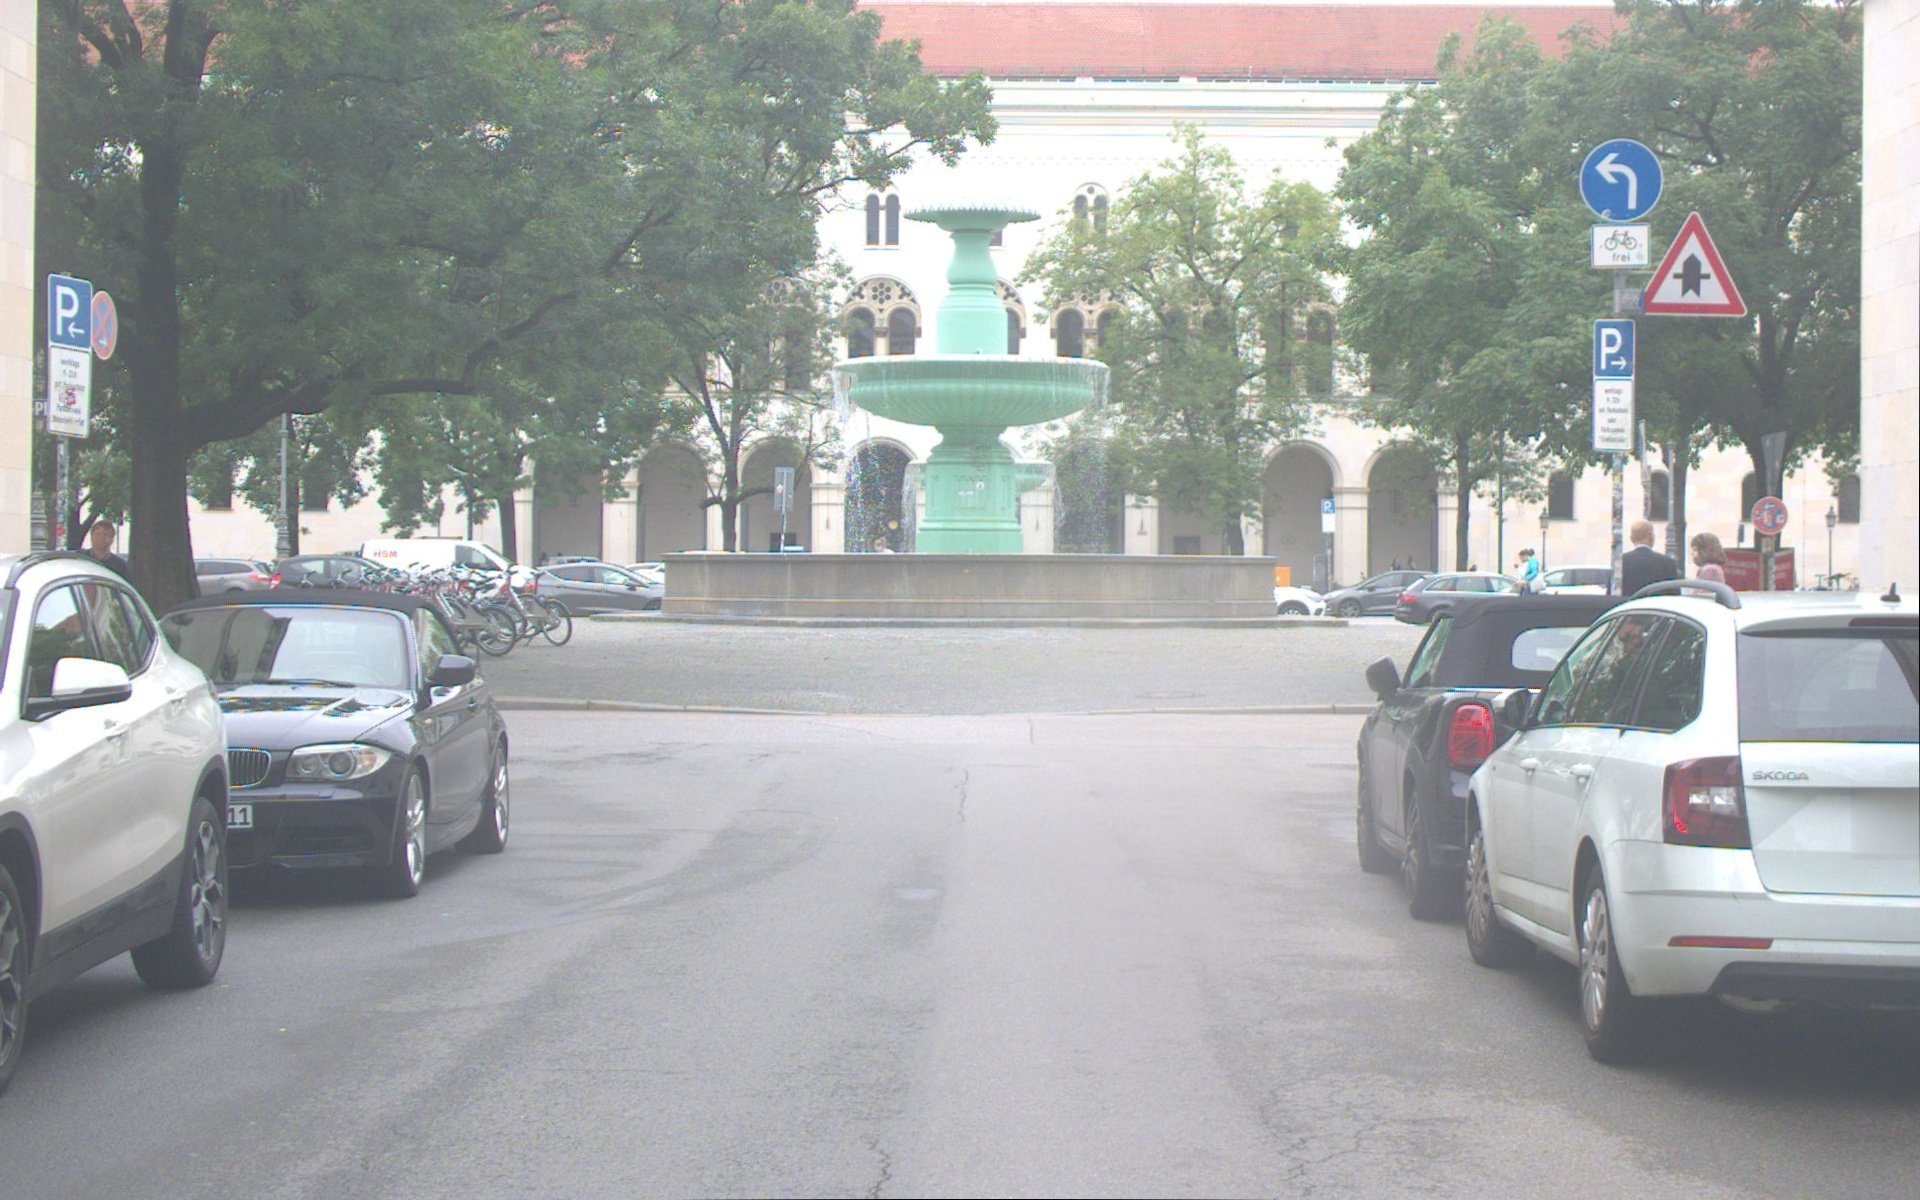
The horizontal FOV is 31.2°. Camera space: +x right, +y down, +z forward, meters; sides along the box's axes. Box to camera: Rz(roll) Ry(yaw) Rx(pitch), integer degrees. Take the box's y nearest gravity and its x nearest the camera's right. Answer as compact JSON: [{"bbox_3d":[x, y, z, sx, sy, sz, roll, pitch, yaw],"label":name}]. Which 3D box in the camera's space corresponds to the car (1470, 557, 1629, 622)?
[{"bbox_3d":[16.610,-0.309,97.018,4.097,1.735,1.747,1,1,-3],"label":"car"}]

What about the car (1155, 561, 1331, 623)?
[{"bbox_3d":[6.500,-0.198,79.277,3.987,1.398,1.824,0,1,3],"label":"car"}]

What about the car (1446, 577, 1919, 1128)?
[{"bbox_3d":[2.812,0.694,11.601,1.789,1.471,4.313,1,1,1],"label":"car"}]

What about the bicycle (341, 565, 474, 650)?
[{"bbox_3d":[-7.493,0.098,46.625,1.619,1.095,0.698,1,1,12],"label":"bicycle"}]

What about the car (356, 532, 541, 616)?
[{"bbox_3d":[-12.911,-0.661,86.883,4.326,2.007,1.824,1,1,2],"label":"car"}]

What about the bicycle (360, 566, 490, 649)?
[{"bbox_3d":[-7.368,0.099,47.360,1.619,1.095,0.698,1,1,12],"label":"bicycle"}]

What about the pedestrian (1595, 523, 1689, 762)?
[{"bbox_3d":[5.197,0.315,26.231,0.642,1.802,0.489,1,1,6],"label":"pedestrian"}]

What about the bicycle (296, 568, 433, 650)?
[{"bbox_3d":[-7.810,0.112,45.120,1.619,1.032,0.698,1,1,12],"label":"bicycle"}]

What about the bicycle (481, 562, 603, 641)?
[{"bbox_3d":[-6.050,0.015,49.747,1.619,1.095,0.616,1,1,12],"label":"bicycle"}]

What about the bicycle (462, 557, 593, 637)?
[{"bbox_3d":[-6.166,-0.048,49.050,1.711,1.095,0.698,1,1,12],"label":"bicycle"}]

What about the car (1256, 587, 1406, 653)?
[{"bbox_3d":[10.481,0.562,97.302,3.987,1.744,1.808,1,1,0],"label":"car"}]

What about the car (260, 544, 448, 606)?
[{"bbox_3d":[-13.955,-0.590,79.296,3.987,1.371,2.000,0,1,-1],"label":"car"}]

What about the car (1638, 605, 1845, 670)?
[{"bbox_3d":[17.919,0.850,78.943,4.357,1.413,1.803,0,1,2],"label":"car"}]

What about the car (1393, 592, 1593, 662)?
[{"bbox_3d":[12.220,0.612,78.995,4.357,1.519,1.803,0,1,2],"label":"car"}]

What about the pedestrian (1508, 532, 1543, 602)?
[{"bbox_3d":[11.894,-0.690,72.294,0.583,1.460,0.547,1,1,24],"label":"pedestrian"}]

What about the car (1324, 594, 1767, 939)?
[{"bbox_3d":[2.676,0.700,16.436,1.540,1.421,3.772,1,0,1],"label":"car"}]

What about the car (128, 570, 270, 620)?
[{"bbox_3d":[-21.624,-0.139,97.750,3.671,1.371,1.603,0,1,-1],"label":"car"}]

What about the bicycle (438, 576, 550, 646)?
[{"bbox_3d":[-7.116,0.159,52.560,1.536,1.016,0.698,1,1,12],"label":"bicycle"}]

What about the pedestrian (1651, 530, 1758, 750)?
[{"bbox_3d":[5.791,0.306,26.760,0.620,1.676,0.546,2,1,-5],"label":"pedestrian"}]

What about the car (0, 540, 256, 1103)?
[{"bbox_3d":[-3.520,0.611,10.751,1.778,1.529,4.212,-1,0,0],"label":"car"}]

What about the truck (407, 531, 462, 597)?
[{"bbox_3d":[-20.551,-1.409,134.337,1.993,2.480,4.001,1,1,-10],"label":"truck"}]

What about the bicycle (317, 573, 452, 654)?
[{"bbox_3d":[-7.678,0.176,45.862,1.619,1.032,0.698,1,1,12],"label":"bicycle"}]

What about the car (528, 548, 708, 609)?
[{"bbox_3d":[-7.873,-0.504,79.393,3.987,1.371,2.000,0,1,-1],"label":"car"}]

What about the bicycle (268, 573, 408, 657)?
[{"bbox_3d":[-8.005,0.189,44.273,1.619,1.032,0.698,1,1,12],"label":"bicycle"}]

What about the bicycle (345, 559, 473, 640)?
[{"bbox_3d":[-7.768,-0.017,48.472,1.619,1.095,0.698,1,1,12],"label":"bicycle"}]

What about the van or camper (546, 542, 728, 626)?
[{"bbox_3d":[-8.453,-0.422,90.288,4.579,2.007,2.000,-2,0,-2],"label":"van or camper"}]

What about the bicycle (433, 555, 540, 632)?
[{"bbox_3d":[-7.012,-0.105,50.930,1.401,1.095,0.656,1,1,12],"label":"bicycle"}]

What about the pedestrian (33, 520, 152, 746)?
[{"bbox_3d":[-6.784,0.252,26.915,0.754,1.743,0.690,0,1,-1],"label":"pedestrian"}]

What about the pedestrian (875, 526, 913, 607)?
[{"bbox_3d":[-1.336,-0.683,69.908,0.750,1.634,0.710,0,1,0],"label":"pedestrian"}]

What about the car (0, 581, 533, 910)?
[{"bbox_3d":[-3.247,0.620,16.900,1.698,1.388,4.211,-1,0,1],"label":"car"}]

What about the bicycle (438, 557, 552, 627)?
[{"bbox_3d":[-6.987,-0.123,51.650,1.536,1.016,0.698,1,1,12],"label":"bicycle"}]
